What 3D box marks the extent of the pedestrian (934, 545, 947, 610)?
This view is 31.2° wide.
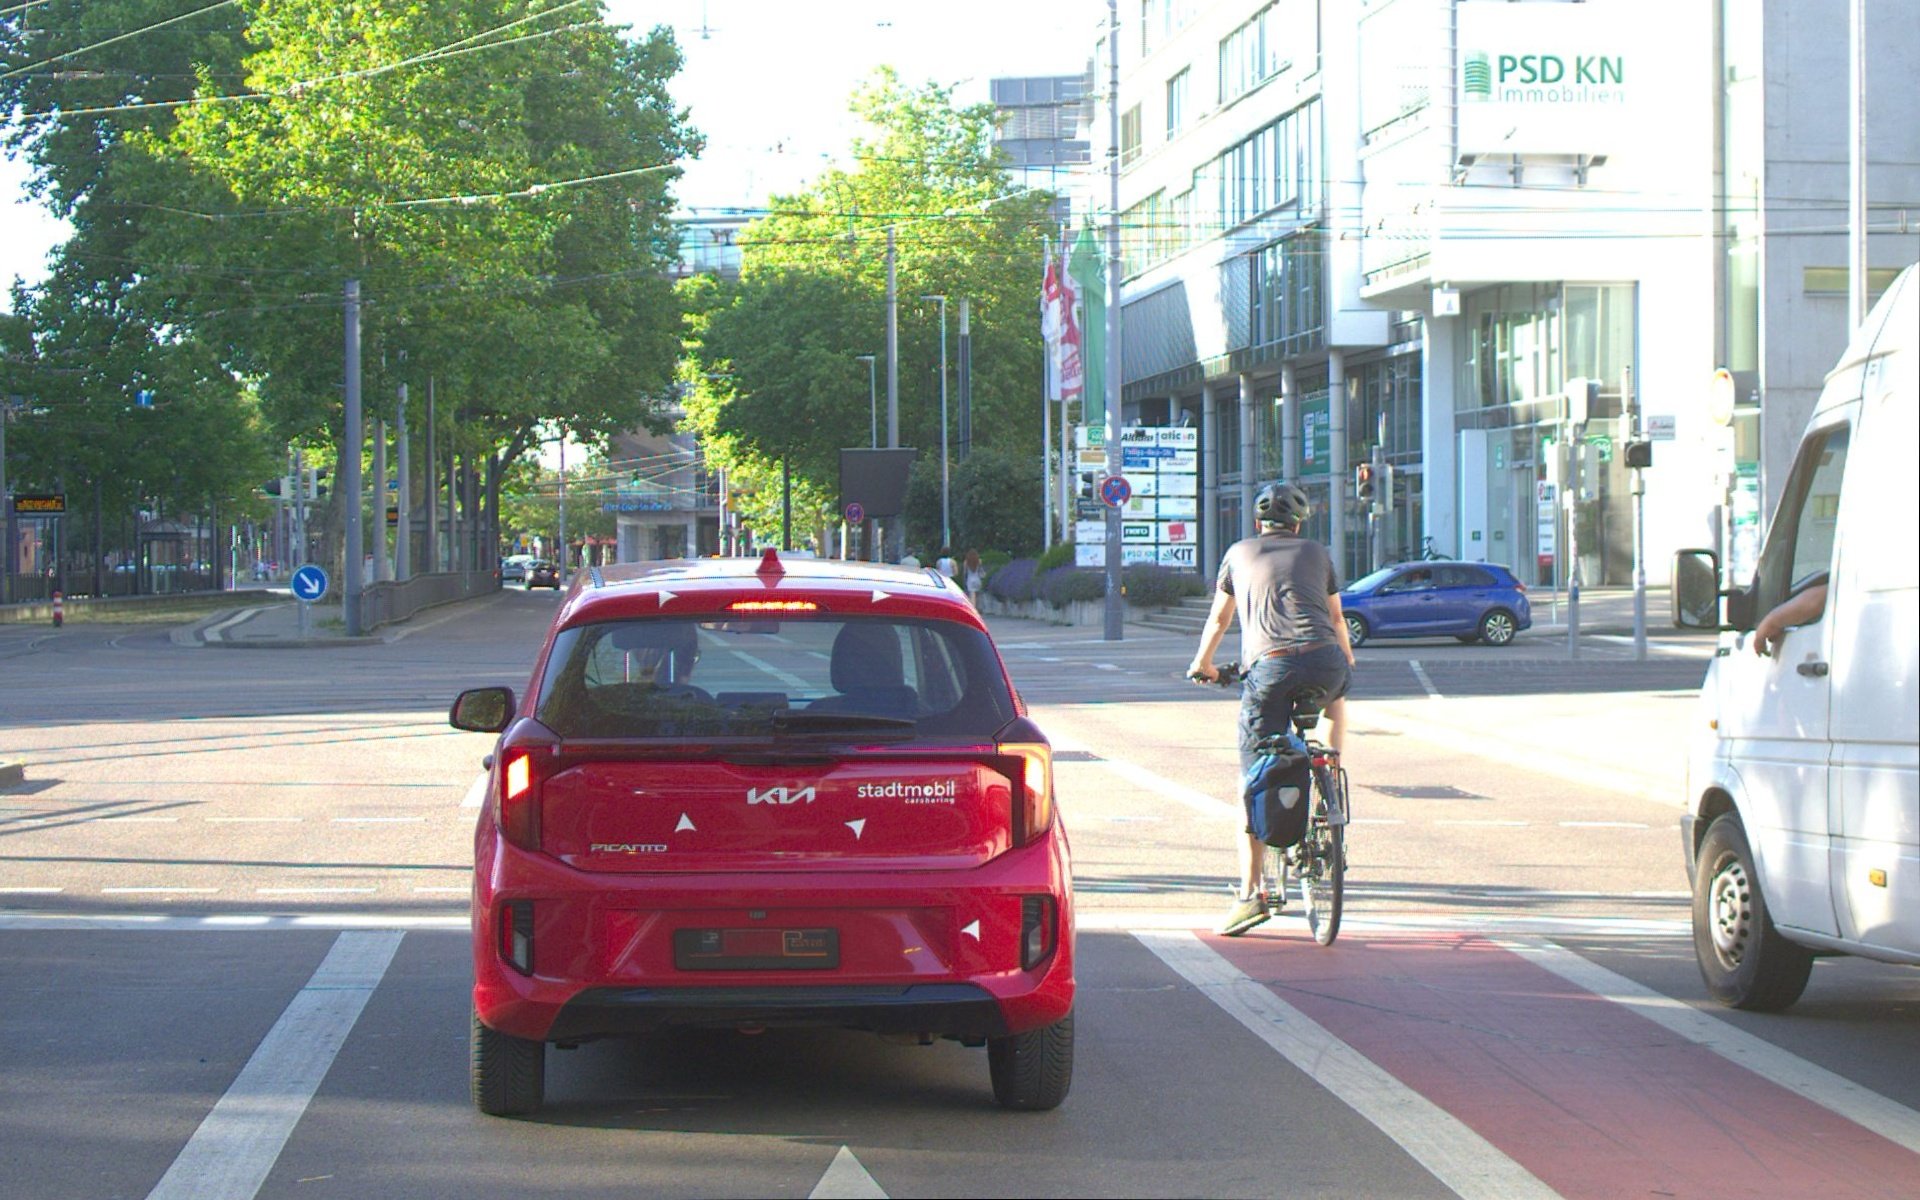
[{"bbox_3d":[-0.471,-0.548,83.006,0.294,1.557,0.302,-1,1,-4],"label":"pedestrian"}]

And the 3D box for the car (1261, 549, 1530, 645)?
[{"bbox_3d":[7.484,-0.065,59.281,4.258,1.562,1.850,-1,1,-8],"label":"car"}]

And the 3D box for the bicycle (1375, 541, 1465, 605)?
[{"bbox_3d":[10.558,-0.624,78.894,1.934,1.438,0.575,-1,1,-7],"label":"bicycle"}]

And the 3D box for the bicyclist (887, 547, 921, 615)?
[{"bbox_3d":[-1.339,-0.457,82.270,0.785,1.629,0.639,0,1,-1],"label":"bicyclist"}]

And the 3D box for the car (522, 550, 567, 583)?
[{"bbox_3d":[-21.604,-1.744,178.667,2.057,1.648,3.493,-1,1,-11],"label":"car"}]

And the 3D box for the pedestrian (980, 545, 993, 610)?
[{"bbox_3d":[0.642,-0.541,83.221,0.294,1.557,0.314,-1,1,-4],"label":"pedestrian"}]

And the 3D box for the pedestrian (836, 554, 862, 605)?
[{"bbox_3d":[-3.765,-0.696,116.467,0.742,1.710,0.748,-1,1,-10],"label":"pedestrian"}]

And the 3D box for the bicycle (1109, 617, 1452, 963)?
[{"bbox_3d":[1.246,0.718,13.891,0.743,1.220,2.157,1,1,-12],"label":"bicycle"}]

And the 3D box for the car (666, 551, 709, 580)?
[{"bbox_3d":[-14.557,-1.851,183.425,1.884,1.523,4.433,-1,1,-9],"label":"car"}]

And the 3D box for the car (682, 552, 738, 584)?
[{"bbox_3d":[-12.337,-1.595,169.389,2.478,1.523,4.433,-1,1,-8],"label":"car"}]

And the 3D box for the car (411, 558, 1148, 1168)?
[{"bbox_3d":[-0.639,0.631,10.490,1.839,1.484,3.717,-1,1,-6],"label":"car"}]

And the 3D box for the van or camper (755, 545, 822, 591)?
[{"bbox_3d":[-6.794,-1.275,135.747,2.145,1.744,4.433,-1,1,-9],"label":"van or camper"}]

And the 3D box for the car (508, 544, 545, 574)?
[{"bbox_3d":[-29.077,-2.748,230.651,1.993,2.007,4.000,-1,1,0],"label":"car"}]

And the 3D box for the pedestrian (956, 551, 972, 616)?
[{"bbox_3d":[0.092,-0.401,83.242,0.294,1.557,0.356,-1,1,11],"label":"pedestrian"}]

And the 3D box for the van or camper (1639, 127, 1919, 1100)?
[{"bbox_3d":[3.879,0.069,9.118,2.268,2.724,6.348,2,1,-5],"label":"van or camper"}]

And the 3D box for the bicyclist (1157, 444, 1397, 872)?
[{"bbox_3d":[1.262,0.224,13.813,0.743,1.663,0.745,1,1,-11],"label":"bicyclist"}]

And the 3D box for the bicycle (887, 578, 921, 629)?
[{"bbox_3d":[-1.328,0.071,82.229,0.792,1.157,2.500,0,1,-1],"label":"bicycle"}]
